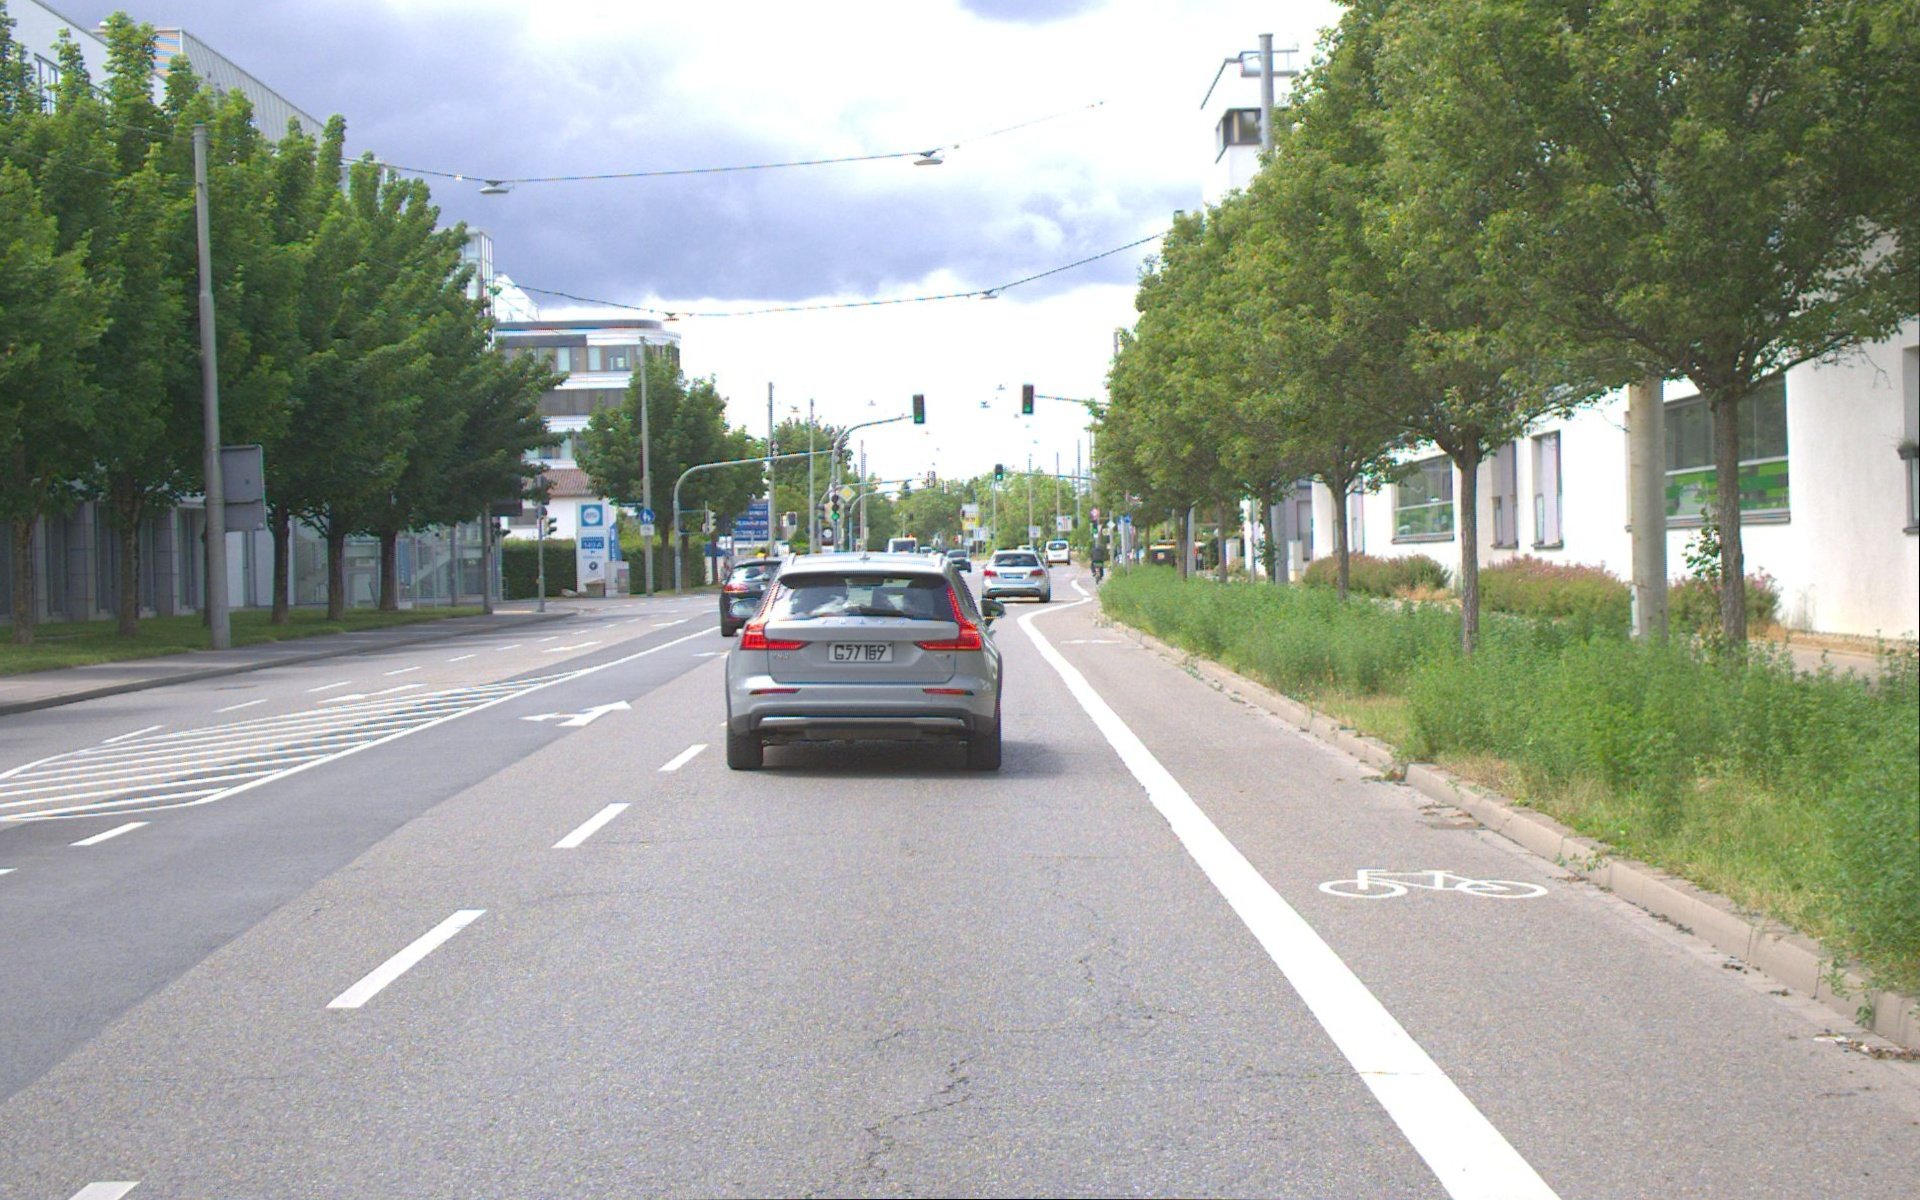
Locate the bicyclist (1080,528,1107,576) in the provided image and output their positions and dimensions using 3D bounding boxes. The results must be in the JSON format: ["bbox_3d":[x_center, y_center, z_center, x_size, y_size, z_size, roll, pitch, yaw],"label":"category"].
[{"bbox_3d":[5.704,-2.040,146.819,1.014,2.007,1.131,-3,1,-1],"label":"bicyclist"}]

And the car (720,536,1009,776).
[{"bbox_3d":[-0.666,0.325,24.249,1.854,1.508,4.000,-1,1,-1],"label":"car"}]

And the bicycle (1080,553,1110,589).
[{"bbox_3d":[5.746,-1.259,146.880,1.067,1.448,2.978,-3,1,-1],"label":"bicycle"}]

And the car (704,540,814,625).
[{"bbox_3d":[-3.753,-0.350,64.789,1.854,1.508,4.000,-1,1,-1],"label":"car"}]

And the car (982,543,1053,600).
[{"bbox_3d":[1.599,-0.817,96.668,1.845,1.508,4.000,-1,1,-1],"label":"car"}]
